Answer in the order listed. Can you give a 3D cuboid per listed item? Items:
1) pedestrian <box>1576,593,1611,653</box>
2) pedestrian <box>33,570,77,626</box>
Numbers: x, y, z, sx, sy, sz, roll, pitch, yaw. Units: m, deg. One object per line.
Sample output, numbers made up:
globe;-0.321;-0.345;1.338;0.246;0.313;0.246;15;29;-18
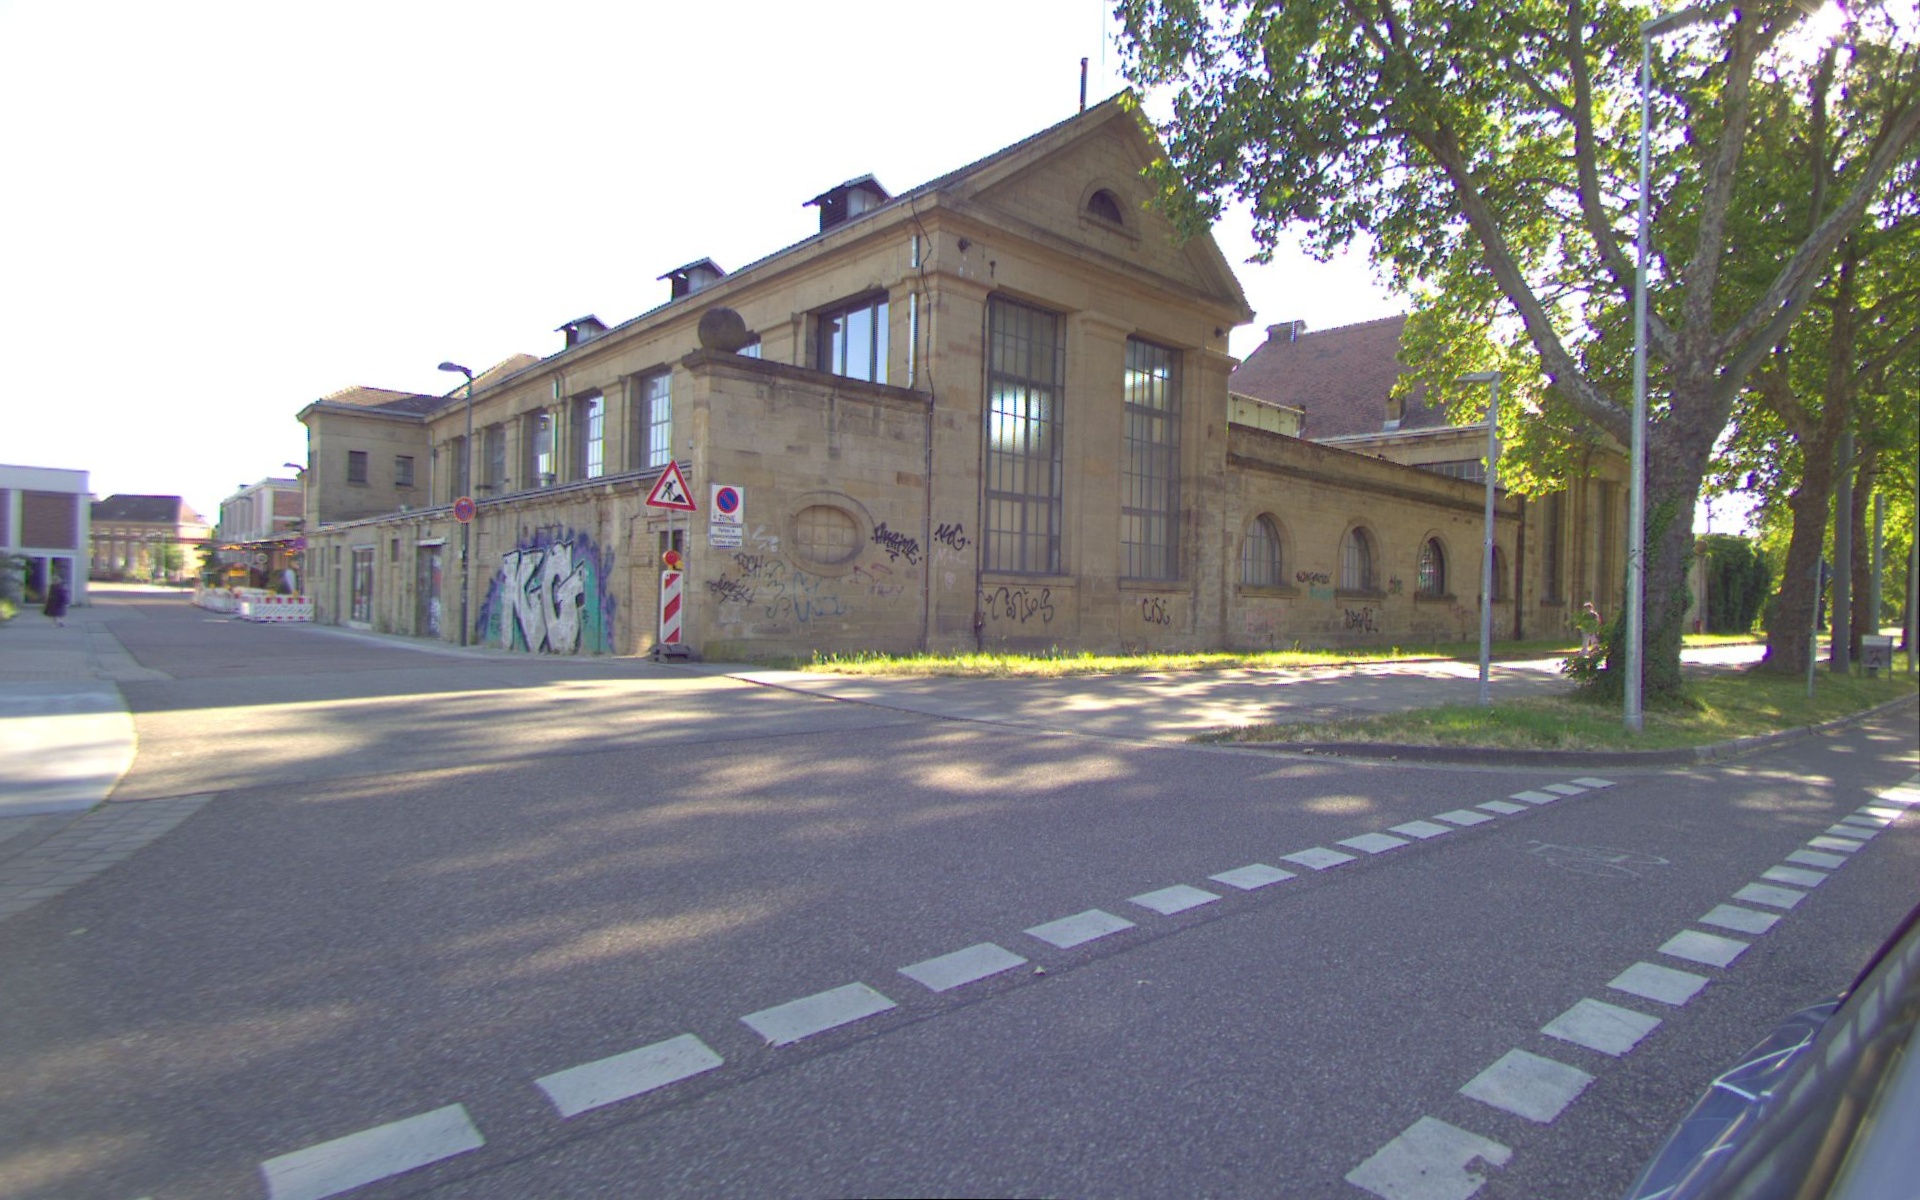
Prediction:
pedestrian;18.723;0.668;29.899;0.625;1.702;0.609;1;4;-44
pedestrian;-28.168;-0.058;31.499;1.070;1.652;0.782;-5;-1;38
